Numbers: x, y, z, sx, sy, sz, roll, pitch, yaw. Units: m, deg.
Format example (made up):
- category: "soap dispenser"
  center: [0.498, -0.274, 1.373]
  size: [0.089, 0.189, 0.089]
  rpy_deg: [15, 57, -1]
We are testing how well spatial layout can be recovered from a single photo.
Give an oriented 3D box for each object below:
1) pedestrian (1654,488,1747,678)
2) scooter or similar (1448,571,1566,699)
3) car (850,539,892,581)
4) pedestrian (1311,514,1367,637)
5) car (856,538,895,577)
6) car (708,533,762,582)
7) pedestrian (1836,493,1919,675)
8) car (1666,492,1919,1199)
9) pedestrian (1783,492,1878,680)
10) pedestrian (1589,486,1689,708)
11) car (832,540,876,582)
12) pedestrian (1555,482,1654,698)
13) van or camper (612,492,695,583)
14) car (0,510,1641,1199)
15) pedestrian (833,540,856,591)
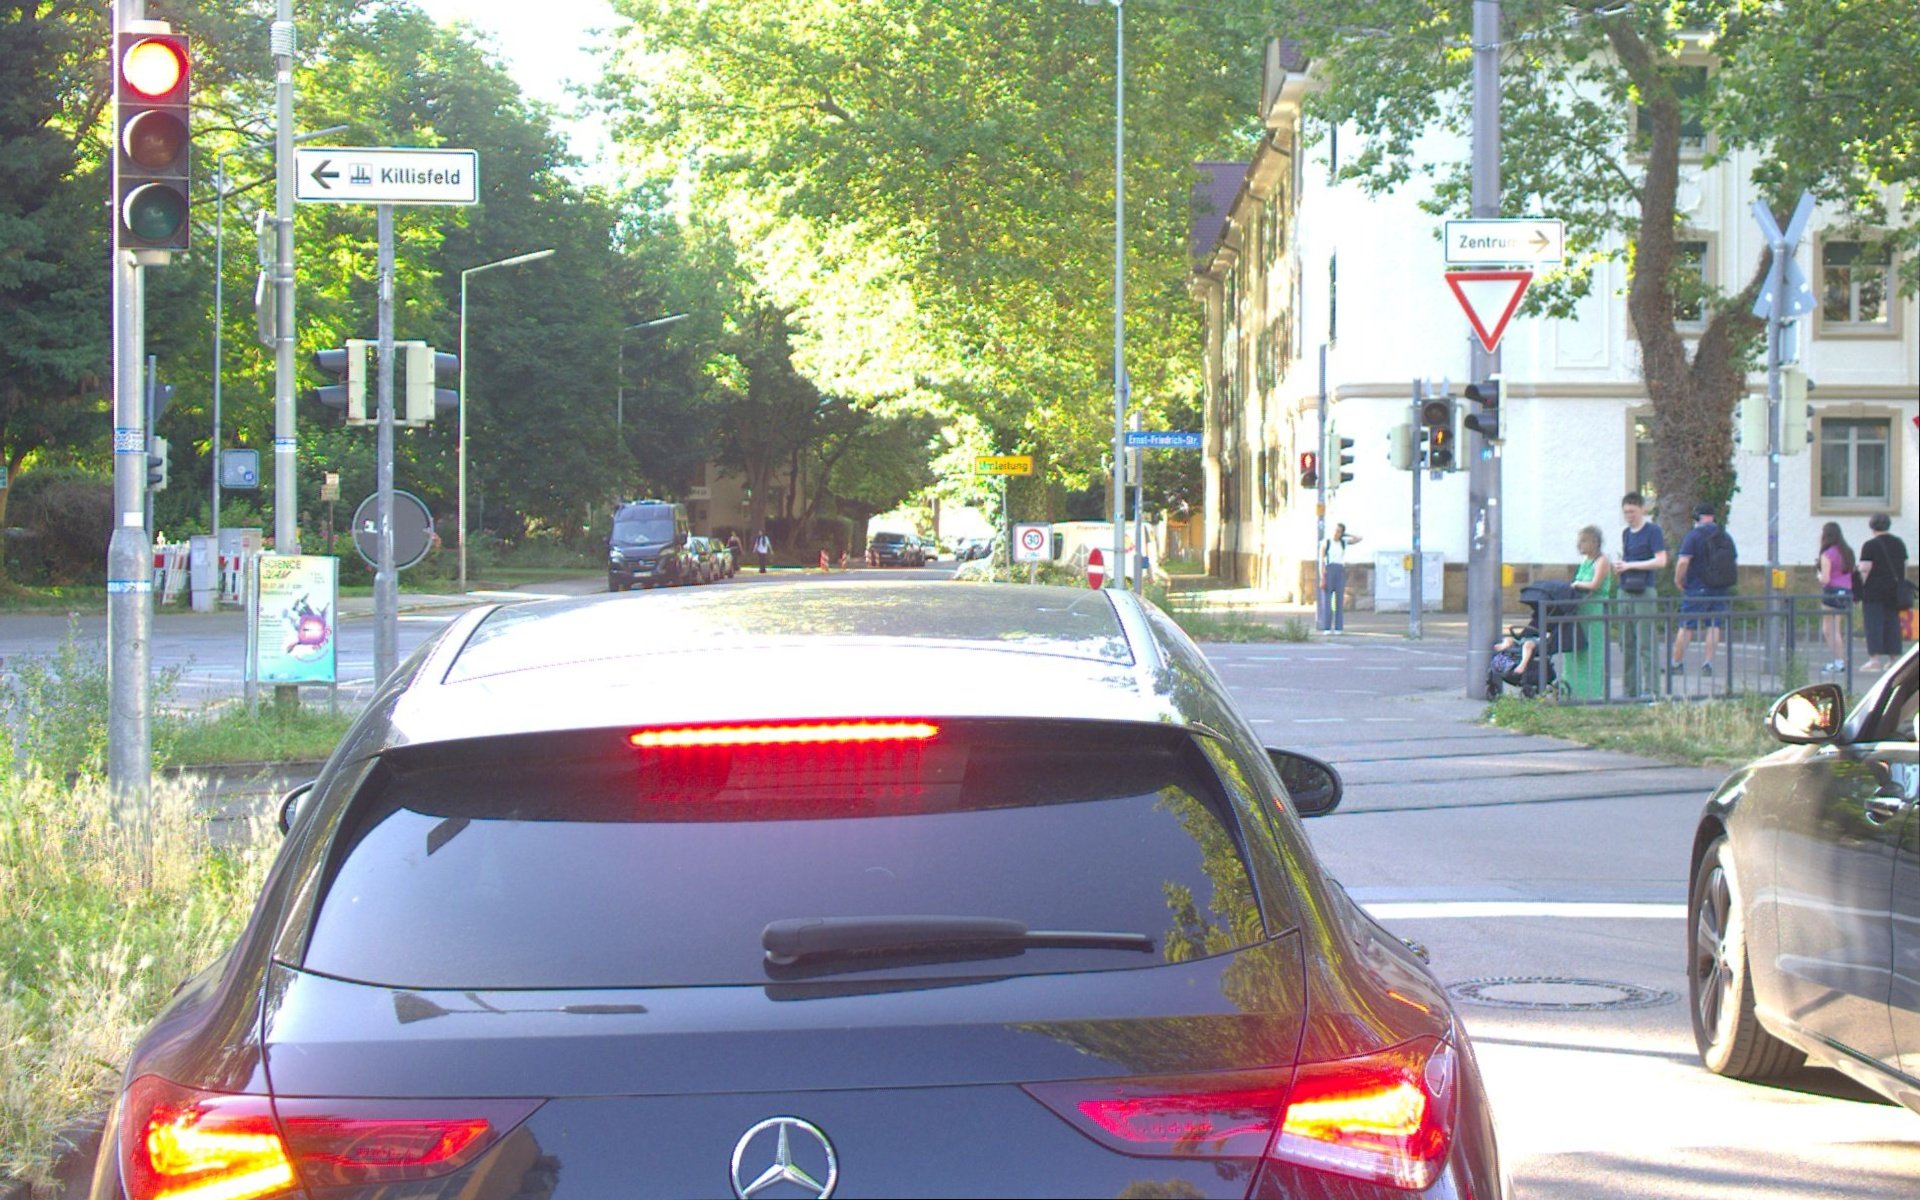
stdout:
- category: "pedestrian"
  center: [7.602, -0.177, 35.310]
  size: [0.705, 1.911, 0.839]
  rpy_deg: [1, 0, -4]
- category: "scooter or similar"
  center: [4.797, 0.302, 30.174]
  size: [0.828, 1.101, 0.809]
  rpy_deg: [1, 0, -6]
- category: "car"
  center: [-3.878, -1.744, 150.381]
  size: [1.733, 1.759, 4.019]
  rpy_deg: [1, 1, -1]
- category: "pedestrian"
  center: [5.943, -0.391, 53.967]
  size: [0.705, 1.911, 0.839]
  rpy_deg: [1, 0, -4]
- category: "car"
  center: [-3.900, -1.966, 158.463]
  size: [1.733, 1.759, 4.019]
  rpy_deg: [1, 1, -1]
- category: "car"
  center: [-8.248, -1.559, 126.076]
  size: [1.733, 1.759, 3.971]
  rpy_deg: [1, 1, -1]
- category: "pedestrian"
  center: [9.834, -0.176, 36.667]
  size: [0.705, 1.911, 0.839]
  rpy_deg: [1, 0, -4]
- category: "car"
  center: [2.916, 0.574, 7.324]
  size: [1.889, 1.485, 4.382]
  rpy_deg: [1, 3, 0]
- category: "pedestrian"
  center: [9.024, -0.147, 35.667]
  size: [0.705, 1.911, 0.839]
  rpy_deg: [1, 0, -4]
- category: "pedestrian"
  center: [5.944, -0.030, 30.117]
  size: [0.682, 1.911, 0.707]
  rpy_deg: [1, 0, -2]
- category: "car"
  center: [-4.480, -1.643, 145.506]
  size: [1.733, 1.759, 4.019]
  rpy_deg: [1, 1, -1]
- category: "pedestrian"
  center: [5.786, -0.093, 30.888]
  size: [0.682, 1.911, 0.707]
  rpy_deg: [1, 0, -4]
- category: "van or camper"
  center: [-8.854, -1.799, 99.736]
  size: [1.993, 2.532, 4.651]
  rpy_deg: [1, 1, 0]
- category: "car"
  center: [-0.263, 0.648, 5.404]
  size: [1.889, 1.445, 4.001]
  rpy_deg: [1, 3, 1]
- category: "pedestrian"
  center: [-4.366, -1.321, 130.024]
  size: [0.705, 1.911, 0.839]
  rpy_deg: [1, 0, -10]
